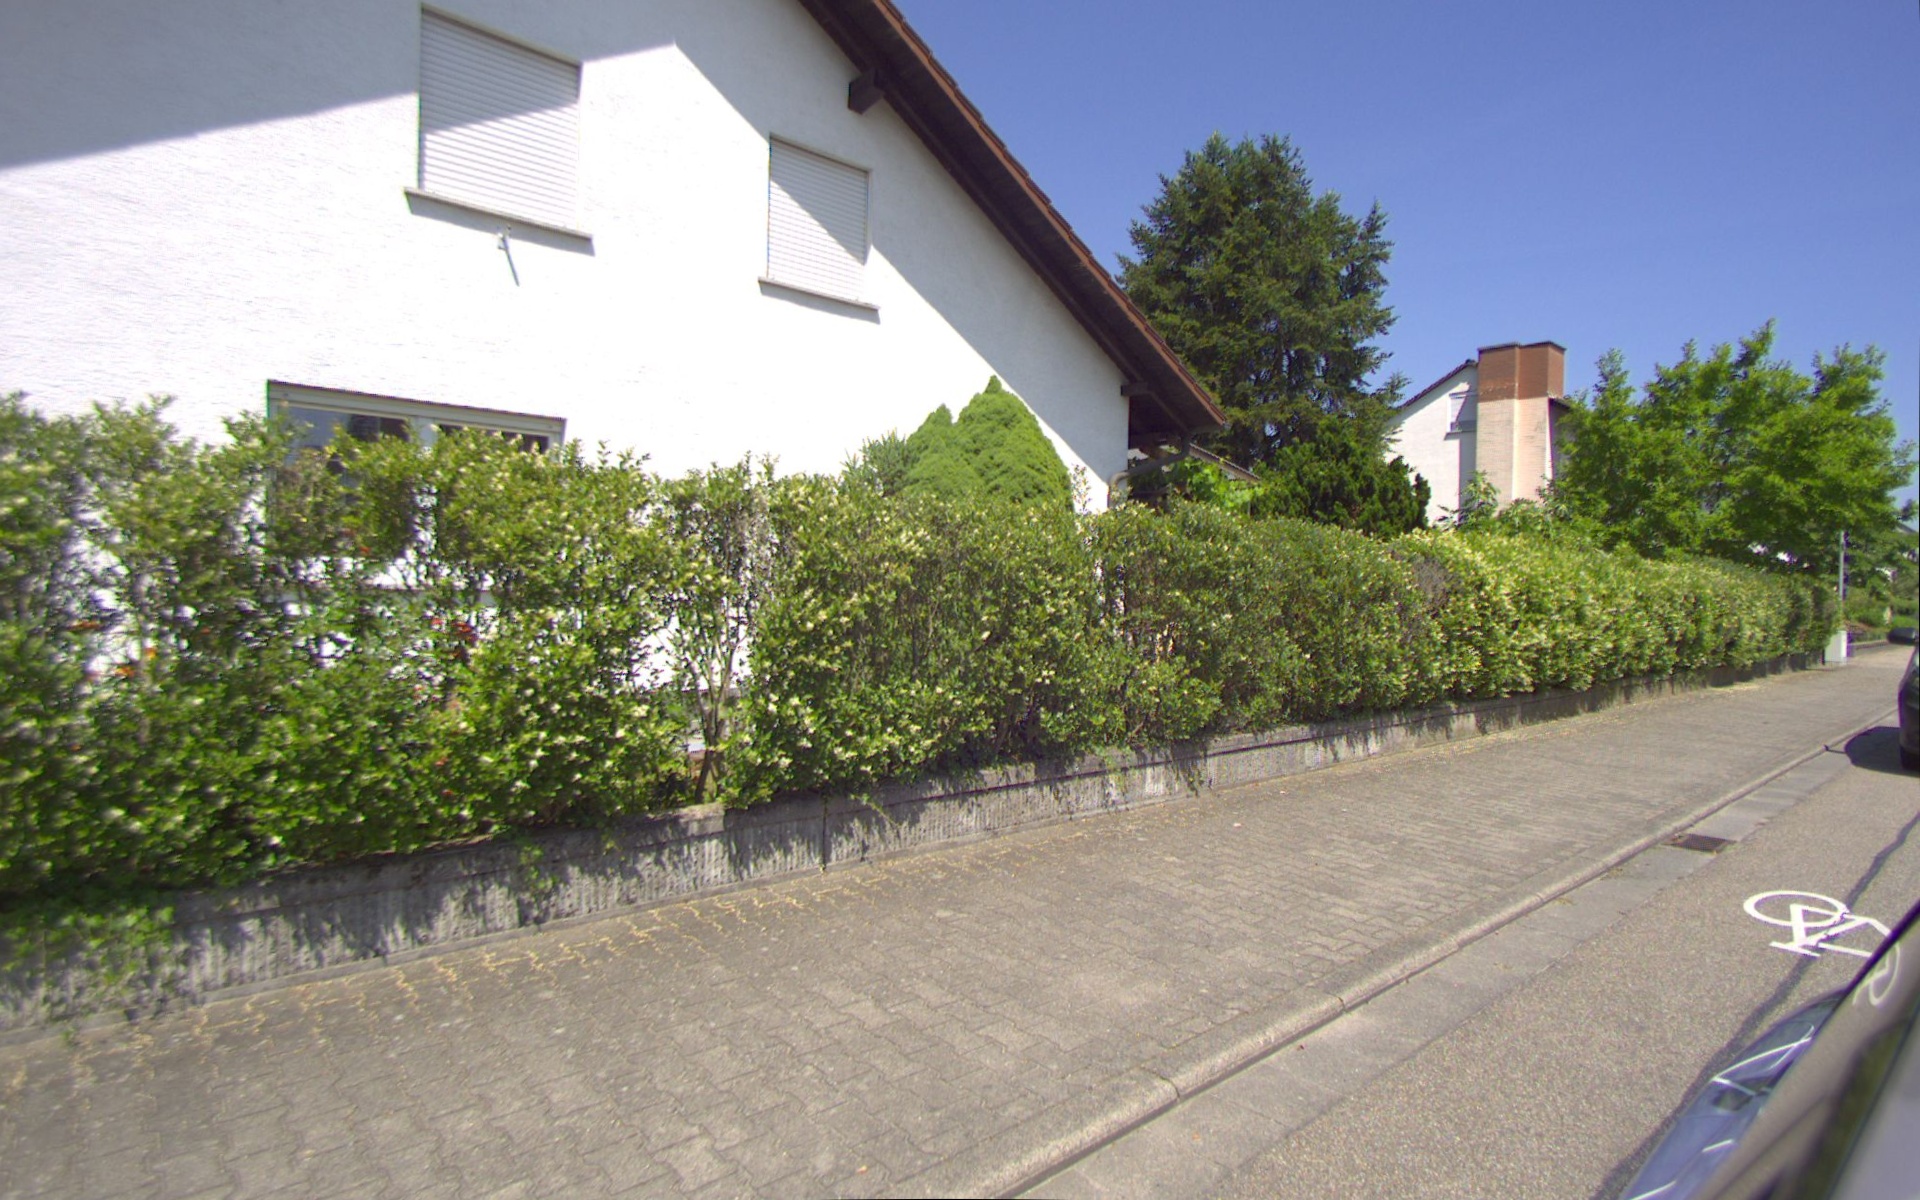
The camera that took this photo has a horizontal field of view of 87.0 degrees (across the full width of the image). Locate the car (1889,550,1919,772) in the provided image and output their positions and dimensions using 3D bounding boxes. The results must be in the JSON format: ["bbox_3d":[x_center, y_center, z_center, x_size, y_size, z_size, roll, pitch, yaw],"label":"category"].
[{"bbox_3d":[10.574,0.527,9.580,4.979,1.879,2.017,0,1,-41],"label":"car"}]
